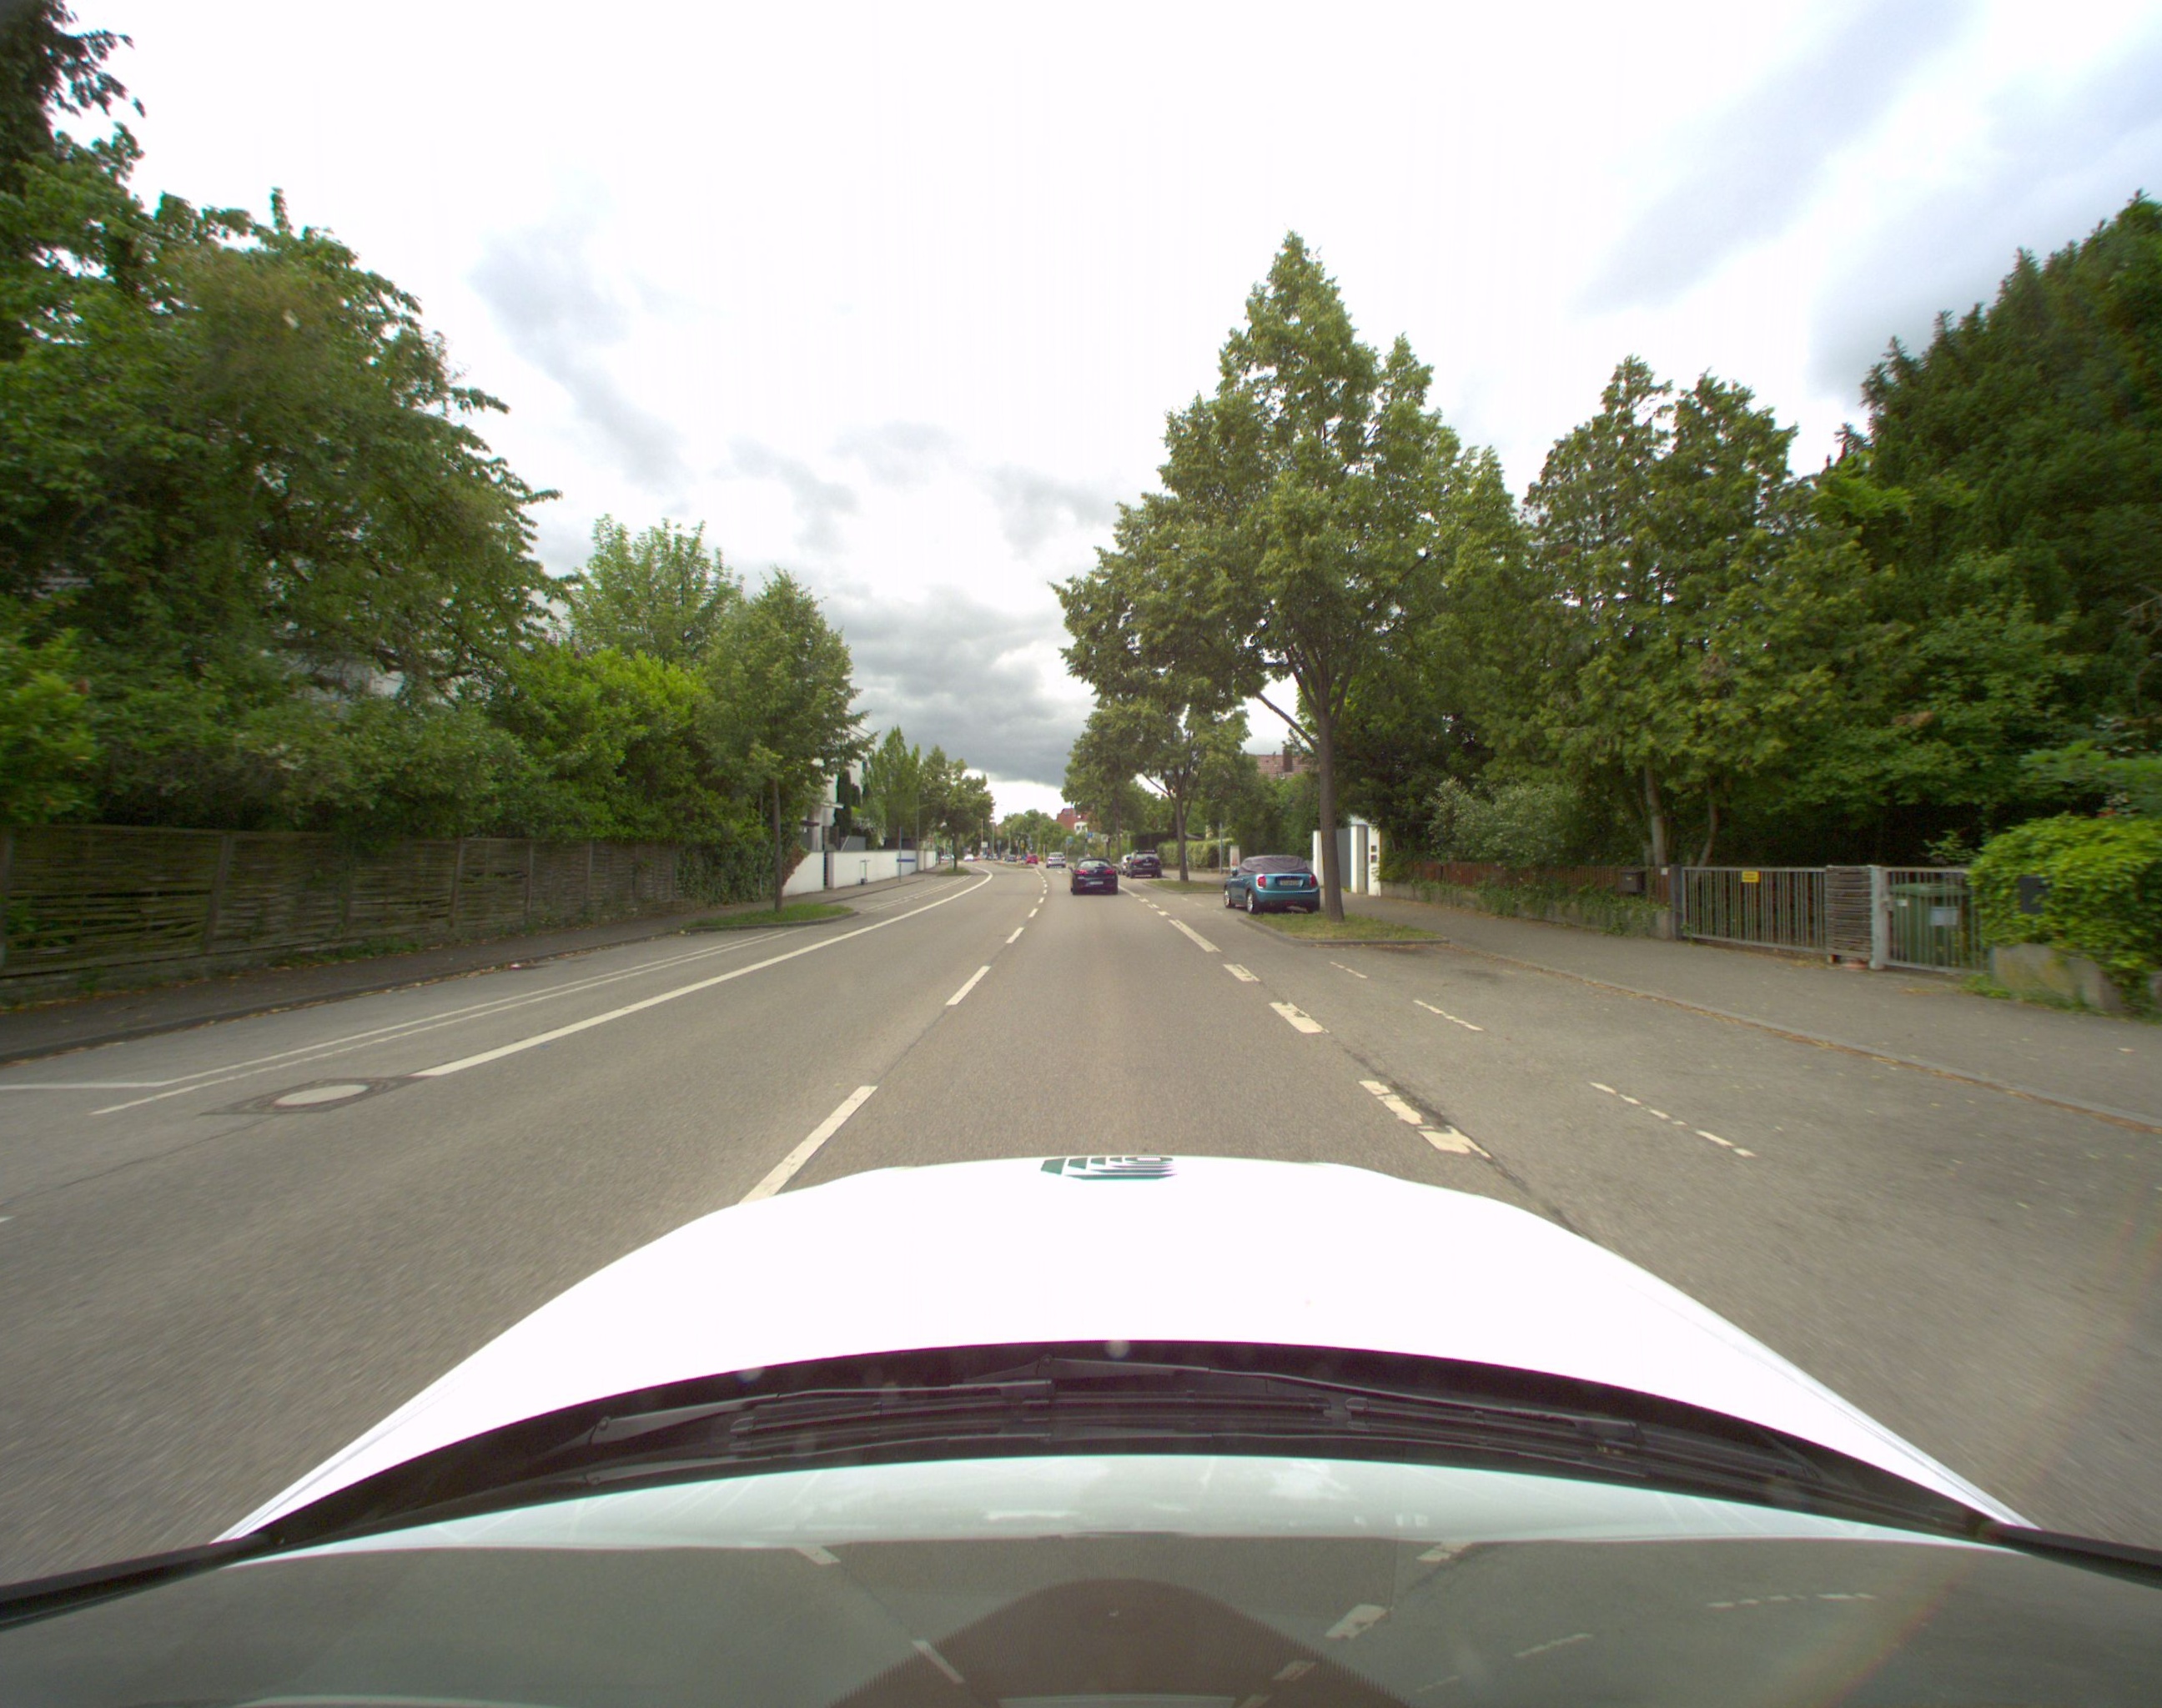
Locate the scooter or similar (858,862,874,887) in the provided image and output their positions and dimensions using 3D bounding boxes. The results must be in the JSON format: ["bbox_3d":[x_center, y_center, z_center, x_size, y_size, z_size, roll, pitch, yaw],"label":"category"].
[{"bbox_3d":[-10.305,0.963,39.046,0.500,1.154,1.300,0,0,-3],"label":"scooter or similar"}]

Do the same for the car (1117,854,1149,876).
[{"bbox_3d":[3.477,0.735,54.883,1.682,1.449,3.574,-1,0,-4],"label":"car"}]

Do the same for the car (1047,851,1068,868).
[{"bbox_3d":[-2.292,0.506,79.605,1.988,1.557,3.999,-2,1,-1],"label":"car"}]

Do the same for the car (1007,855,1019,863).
[{"bbox_3d":[-12.573,0.924,151.431,1.988,1.508,3.996,0,-1,-2],"label":"car"}]

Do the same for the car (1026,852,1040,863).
[{"bbox_3d":[-6.834,0.533,116.337,1.989,1.530,3.995,-1,0,-3],"label":"car"}]

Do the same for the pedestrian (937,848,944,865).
[{"bbox_3d":[-16.970,0.355,98.318,0.751,2.054,0.723,0,-1,-7],"label":"pedestrian"}]

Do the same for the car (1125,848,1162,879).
[{"bbox_3d":[3.719,0.573,48.869,1.784,1.772,3.979,-1,0,-2],"label":"car"}]

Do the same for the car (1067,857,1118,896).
[{"bbox_3d":[0.408,0.848,31.917,1.779,1.449,3.554,-1,0,-3],"label":"car"}]

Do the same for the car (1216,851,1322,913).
[{"bbox_3d":[4.775,0.657,21.225,1.679,1.432,4.040,-1,0,-2],"label":"car"}]

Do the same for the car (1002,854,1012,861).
[{"bbox_3d":[-17.595,0.836,194.469,1.967,1.675,3.875,0,0,-1],"label":"car"}]
